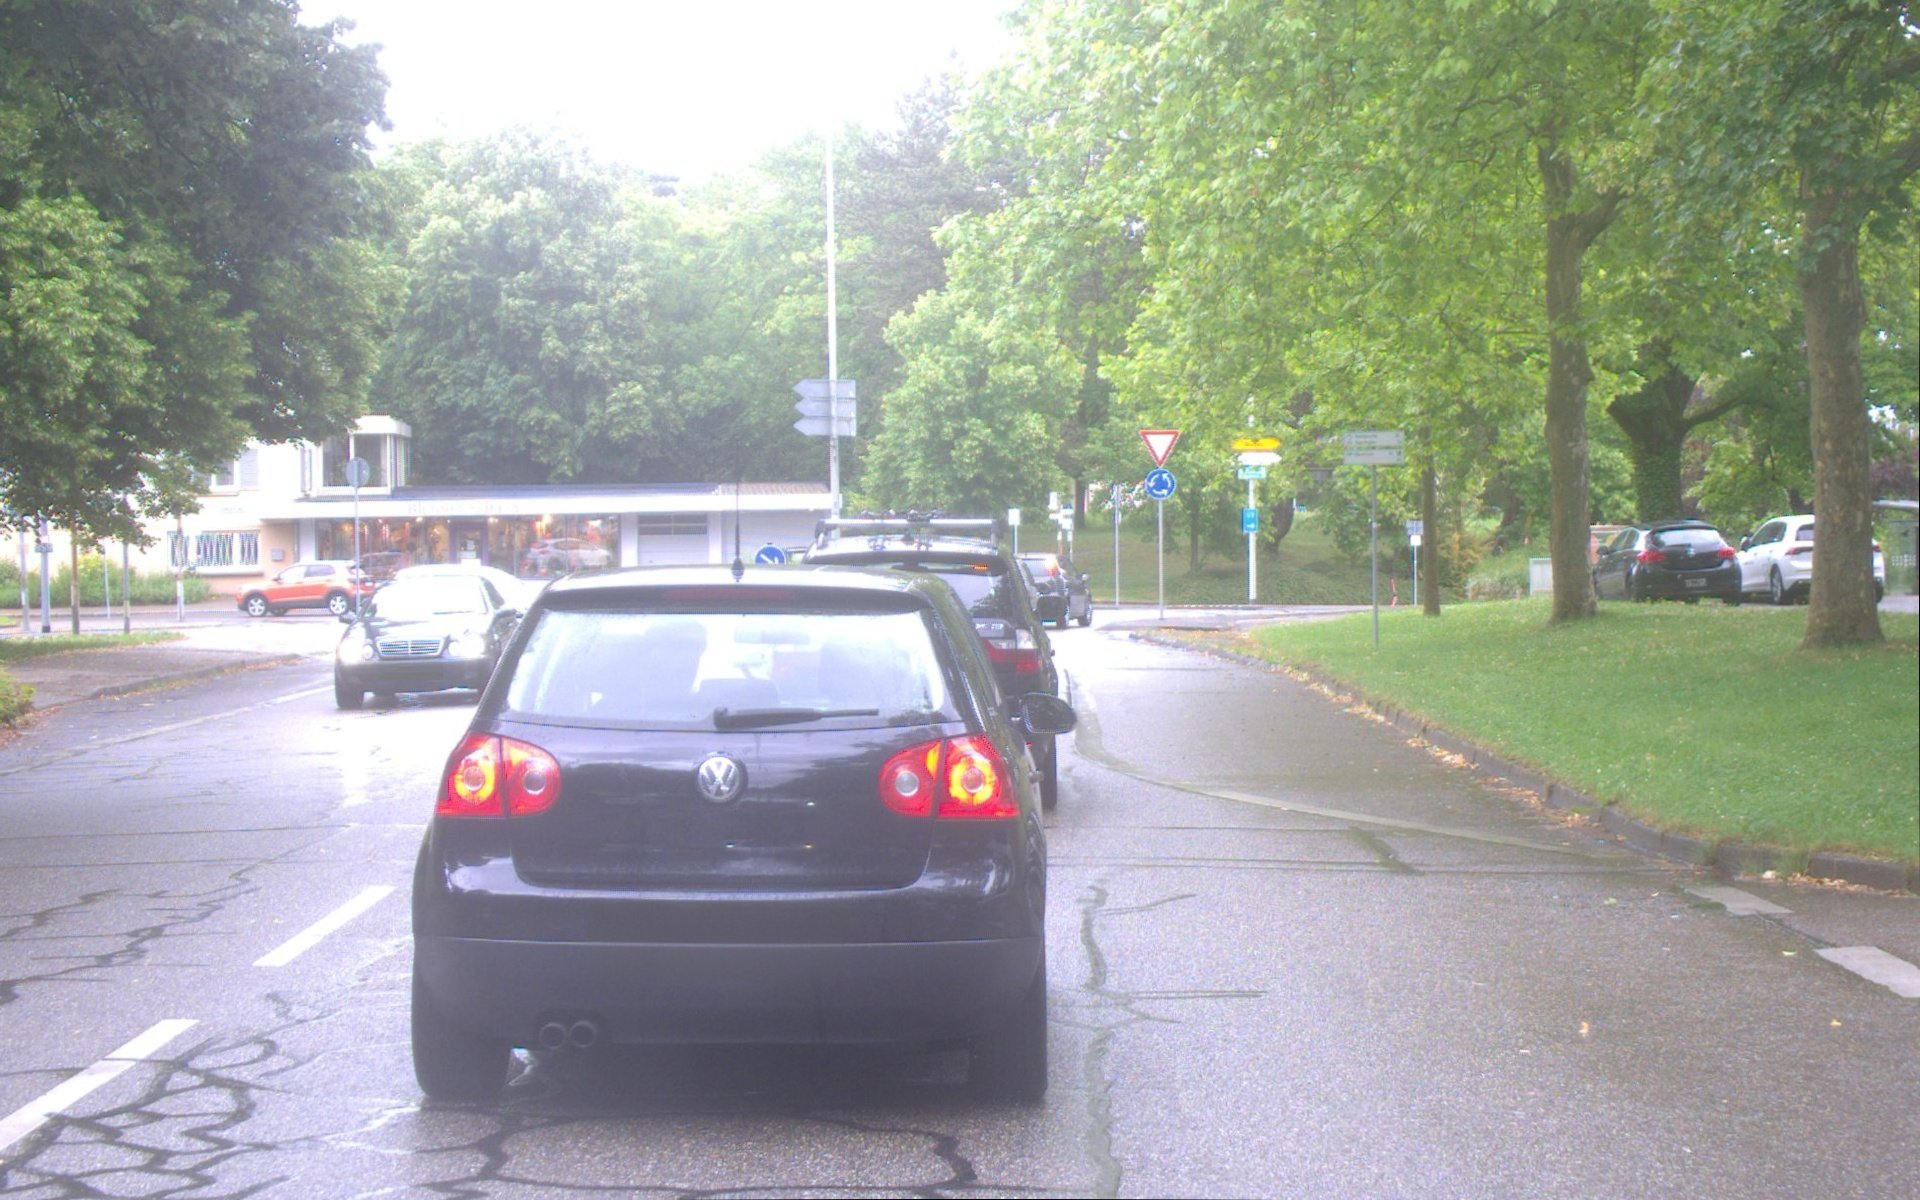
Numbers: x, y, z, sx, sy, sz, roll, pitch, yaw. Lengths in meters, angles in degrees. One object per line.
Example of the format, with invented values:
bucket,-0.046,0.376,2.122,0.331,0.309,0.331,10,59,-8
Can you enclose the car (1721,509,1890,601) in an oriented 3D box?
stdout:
car,14.123,-0.768,57.637,1.803,1.401,4.000,-3,1,0

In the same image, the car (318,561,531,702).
car,-5.850,0.307,37.968,1.797,1.388,3.979,-3,1,-2

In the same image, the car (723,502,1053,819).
car,-0.389,0.338,21.563,1.855,1.778,4.000,-1,0,1

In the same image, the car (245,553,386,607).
car,-18.877,-0.593,100.762,3.662,1.508,1.711,-1,0,8

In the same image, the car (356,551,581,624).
car,-10.406,-0.260,72.774,4.503,1.414,1.844,-1,1,30

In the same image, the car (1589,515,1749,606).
car,11.776,-0.672,57.353,1.803,1.381,4.000,-3,1,0

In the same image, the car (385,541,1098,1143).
car,-0.535,0.579,10.558,1.799,1.510,3.754,0,1,1
